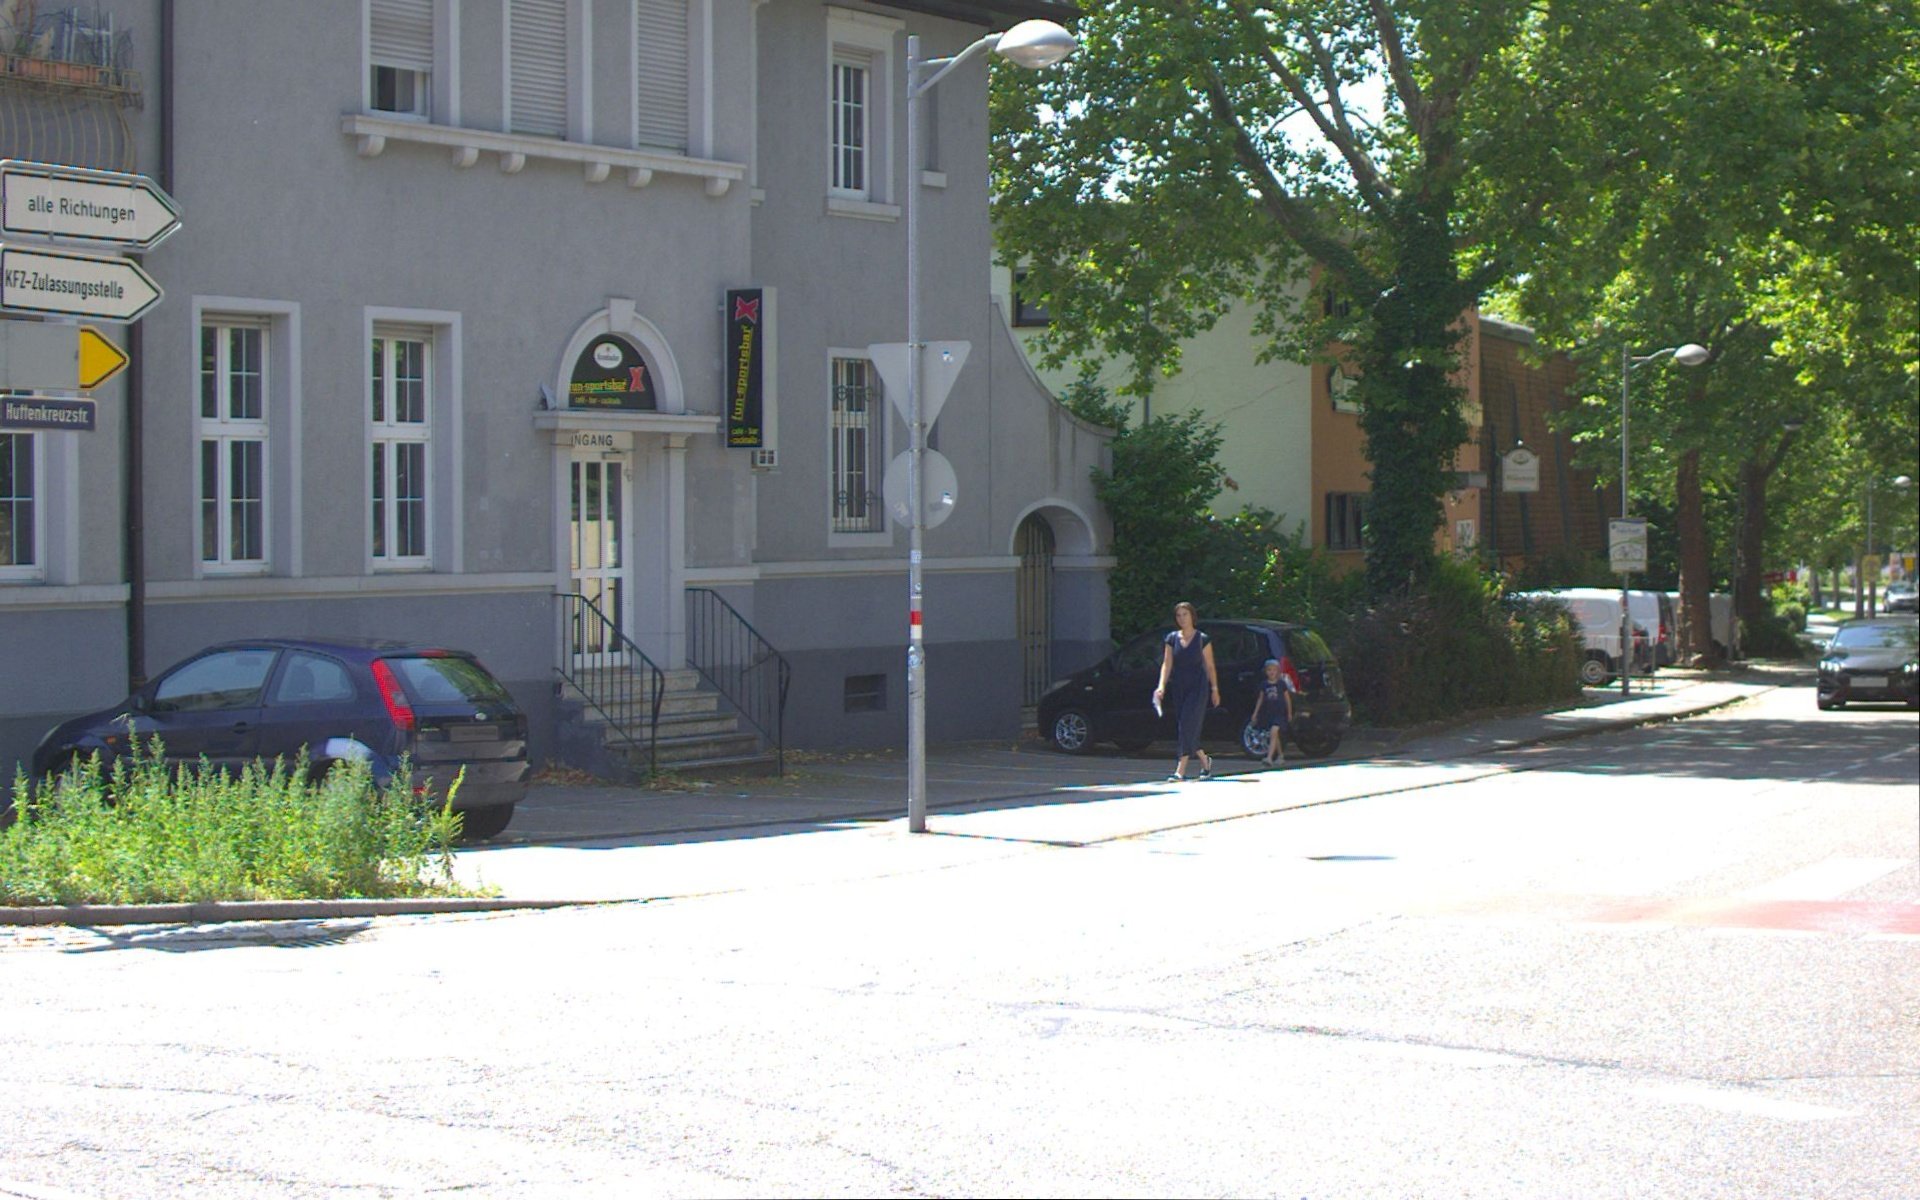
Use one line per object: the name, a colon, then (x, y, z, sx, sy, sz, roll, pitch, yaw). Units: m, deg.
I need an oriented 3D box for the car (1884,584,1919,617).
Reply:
car: (49.964, 0.019, 181.830, 1.995, 1.661, 3.997, 0, -1, 14)

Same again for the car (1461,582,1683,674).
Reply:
car: (13.088, 0.582, 73.498, 4.427, 1.798, 1.901, 2, 0, 17)

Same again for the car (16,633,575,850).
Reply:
car: (-4.834, 0.973, 24.916, 3.787, 1.455, 1.721, 0, 0, 30)

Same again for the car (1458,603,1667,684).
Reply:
car: (12.428, 0.878, 70.869, 3.990, 1.510, 1.866, 2, 0, 17)

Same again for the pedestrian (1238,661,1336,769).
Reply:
pedestrian: (3.466, 1.206, 36.420, 0.755, 1.118, 0.896, 0, -1, 27)

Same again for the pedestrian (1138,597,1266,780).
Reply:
pedestrian: (2.346, 0.841, 33.287, 0.873, 1.736, 1.111, 0, -1, 26)

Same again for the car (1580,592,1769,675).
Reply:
car: (16.788, 0.768, 80.775, 4.132, 1.798, 1.901, 2, 0, 17)

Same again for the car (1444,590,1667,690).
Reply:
car: (11.508, 0.757, 66.413, 3.990, 1.786, 1.866, 2, 0, 17)

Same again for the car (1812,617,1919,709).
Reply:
car: (14.751, 0.984, 55.087, 1.770, 1.421, 4.388, 0, -1, 19)

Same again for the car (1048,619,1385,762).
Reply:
car: (2.886, 0.990, 38.816, 3.387, 1.541, 1.721, 0, 0, 30)
